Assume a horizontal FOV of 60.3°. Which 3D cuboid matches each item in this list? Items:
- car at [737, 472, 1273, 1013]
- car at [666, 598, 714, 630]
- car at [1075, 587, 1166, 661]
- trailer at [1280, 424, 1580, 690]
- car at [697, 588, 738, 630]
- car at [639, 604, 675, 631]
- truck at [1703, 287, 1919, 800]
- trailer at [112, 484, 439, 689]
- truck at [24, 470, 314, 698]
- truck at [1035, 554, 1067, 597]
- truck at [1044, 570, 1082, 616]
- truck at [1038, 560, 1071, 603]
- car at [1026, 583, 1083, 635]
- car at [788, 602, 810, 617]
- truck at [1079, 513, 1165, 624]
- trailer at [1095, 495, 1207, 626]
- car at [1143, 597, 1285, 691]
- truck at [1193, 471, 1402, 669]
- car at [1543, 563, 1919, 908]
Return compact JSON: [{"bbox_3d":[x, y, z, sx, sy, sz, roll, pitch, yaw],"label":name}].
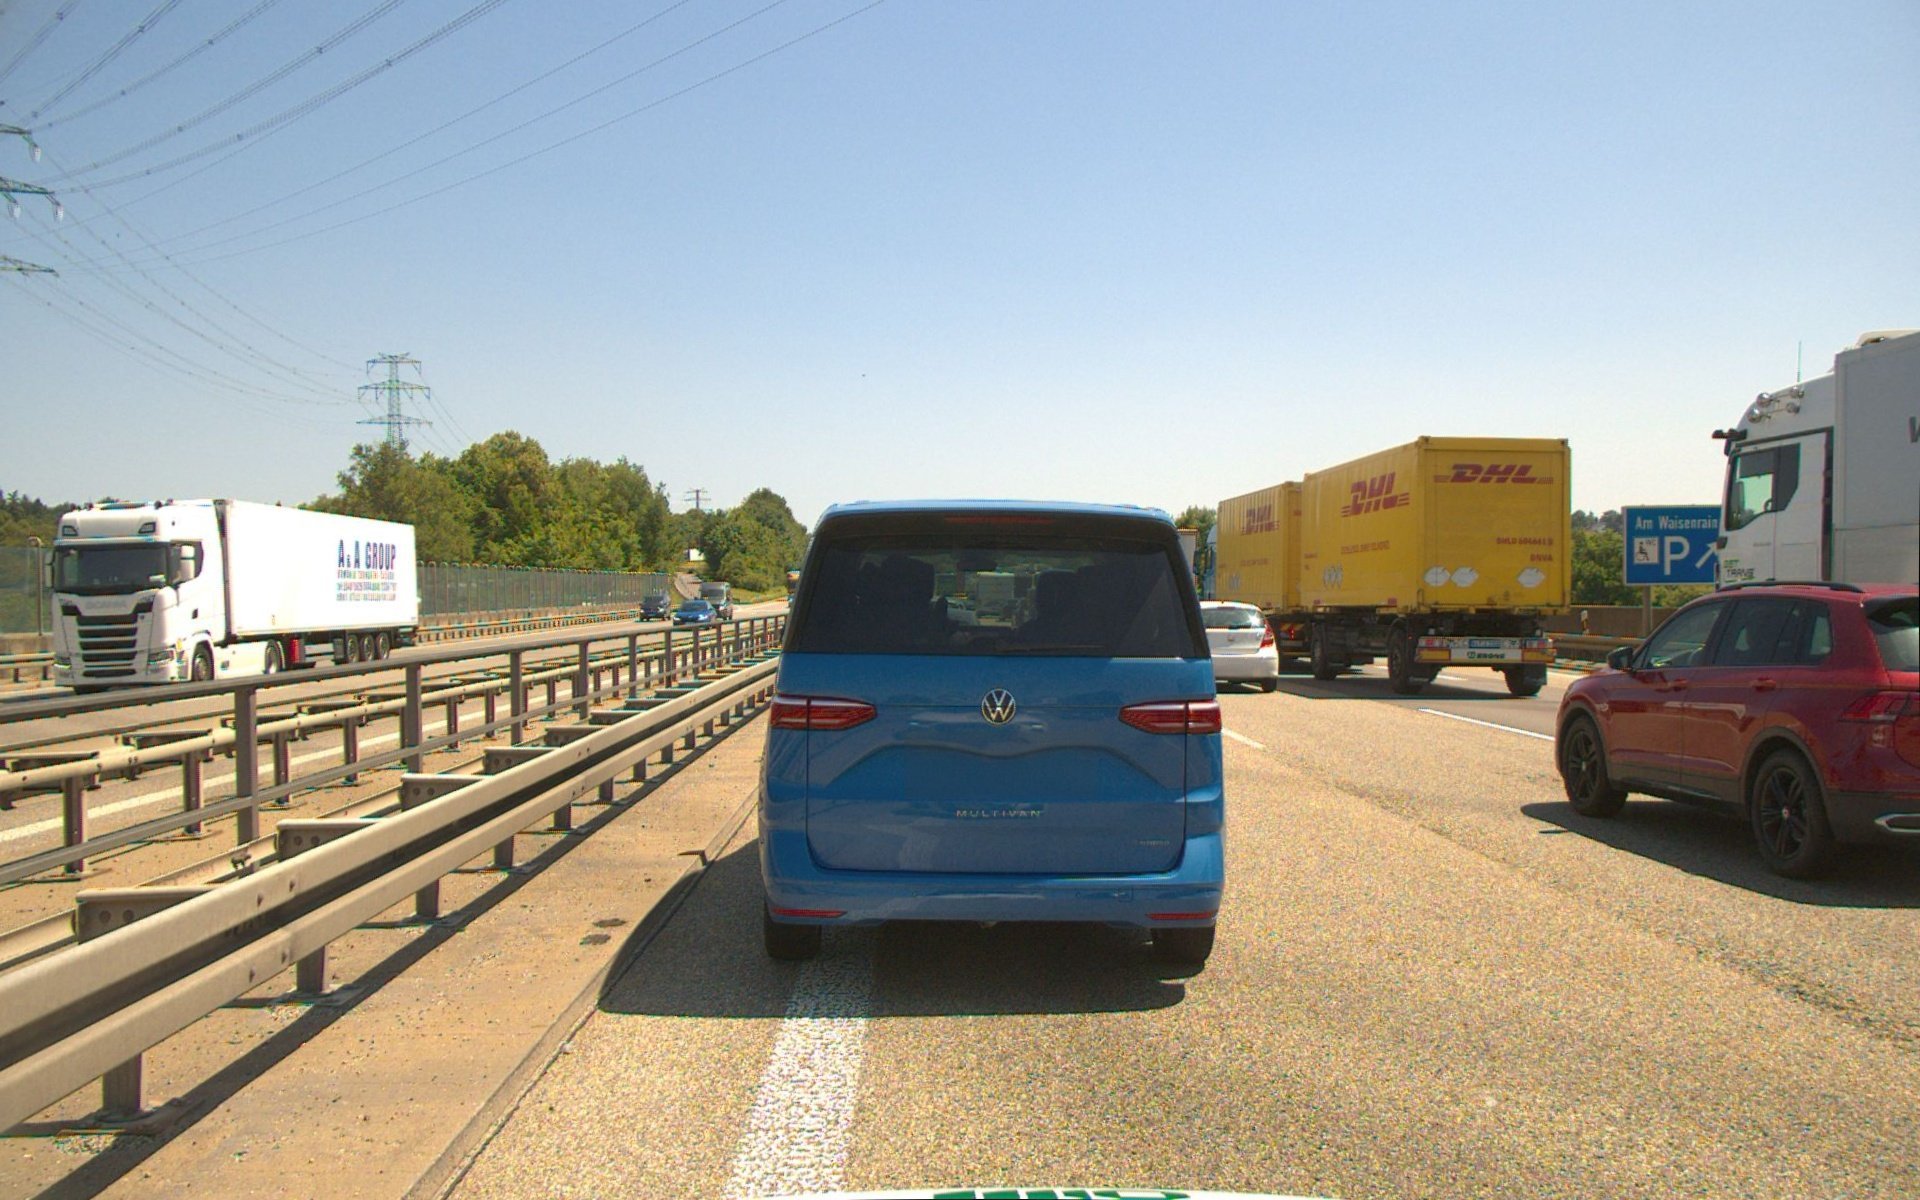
[{"bbox_3d":[0.127,0.527,7.928,1.891,1.906,3.999,1,0,-1],"label":"car"},{"bbox_3d":[-13.634,0.673,83.698,1.736,1.517,4.604,-1,0,-1],"label":"car"},{"bbox_3d":[3.915,0.582,40.948,1.778,1.708,3.931,1,0,-1],"label":"car"},{"bbox_3d":[8.318,-0.652,30.686,2.629,4.159,8.976,1,0,-2],"label":"trailer"},{"bbox_3d":[-16.327,0.602,111.519,1.954,2.627,6.647,-2,0,-2],"label":"car"},{"bbox_3d":[-22.422,1.276,122.494,1.918,1.939,4.948,-2,0,-3],"label":"car"},{"bbox_3d":[8.930,-0.435,11.154,2.794,4.003,10.606,1,0,-2],"label":"truck"},{"bbox_3d":[-17.069,-0.250,42.892,2.847,4.382,13.658,-2,0,-1],"label":"trailer"},{"bbox_3d":[-16.964,-0.293,36.092,2.869,4.368,6.857,-3,0,0],"label":"truck"},{"bbox_3d":[5.926,-1.584,107.819,1.760,2.641,4.304,1,-1,-1],"label":"truck"},{"bbox_3d":[5.805,-0.378,93.684,1.761,2.492,4.503,1,0,-1],"label":"truck"},{"bbox_3d":[5.819,-1.110,102.380,1.706,2.593,4.209,1,-1,-1],"label":"truck"},{"bbox_3d":[3.694,0.370,65.436,1.922,1.970,3.931,1,0,-1],"label":"car"},{"bbox_3d":[-17.376,0.990,178.174,1.953,1.571,4.384,-2,0,-1],"label":"car"},{"bbox_3d":[7.272,-1.329,75.135,2.965,4.692,7.919,1,-1,-1],"label":"truck"},{"bbox_3d":[7.412,-1.399,65.697,2.965,4.692,10.922,1,0,-1],"label":"trailer"},{"bbox_3d":[4.348,0.735,28.851,1.778,1.496,3.931,1,0,-2],"label":"car"},{"bbox_3d":[7.882,-0.604,40.166,2.645,4.159,9.935,1,0,-2],"label":"truck"},{"bbox_3d":[5.346,0.683,10.393,1.674,1.708,4.282,0,0,-3],"label":"car"}]
